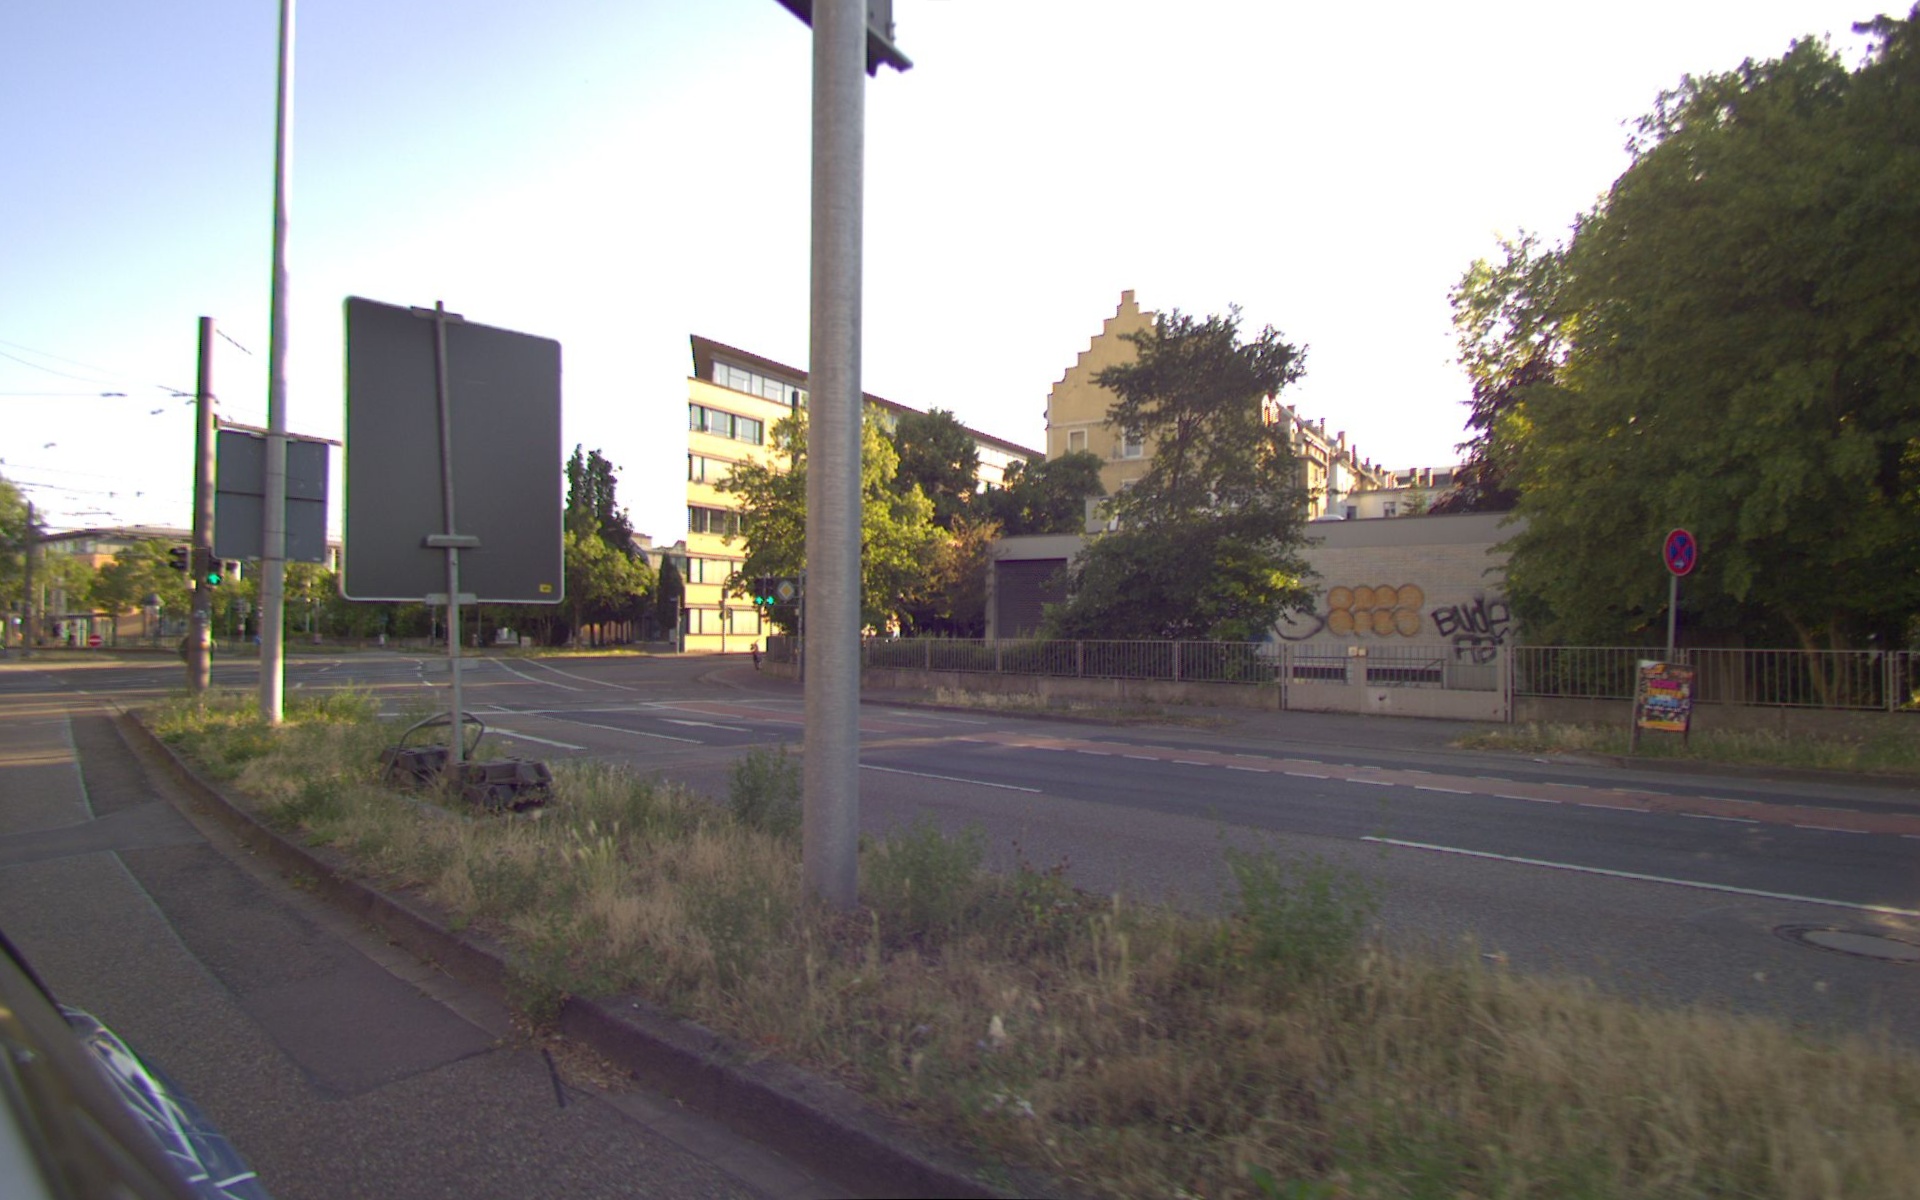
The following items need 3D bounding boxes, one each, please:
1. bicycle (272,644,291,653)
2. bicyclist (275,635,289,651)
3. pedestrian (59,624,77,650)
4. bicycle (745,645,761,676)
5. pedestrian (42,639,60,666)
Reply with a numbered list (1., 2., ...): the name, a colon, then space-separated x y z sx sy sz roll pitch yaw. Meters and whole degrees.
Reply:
1. bicycle: -61.008 4.372 91.034 1.961 0.827 0.767 -2 -3 35
2. bicyclist: -61.030 3.858 91.073 0.826 1.479 0.761 -2 -3 35
3. pedestrian: -68.655 2.851 77.905 1.124 2.029 0.763 -2 -3 35
4. bicycle: -7.933 2.314 38.837 0.550 1.151 1.725 0 -2 -9
5. pedestrian: -69.643 4.024 77.510 1.124 2.029 0.763 -2 -3 35
